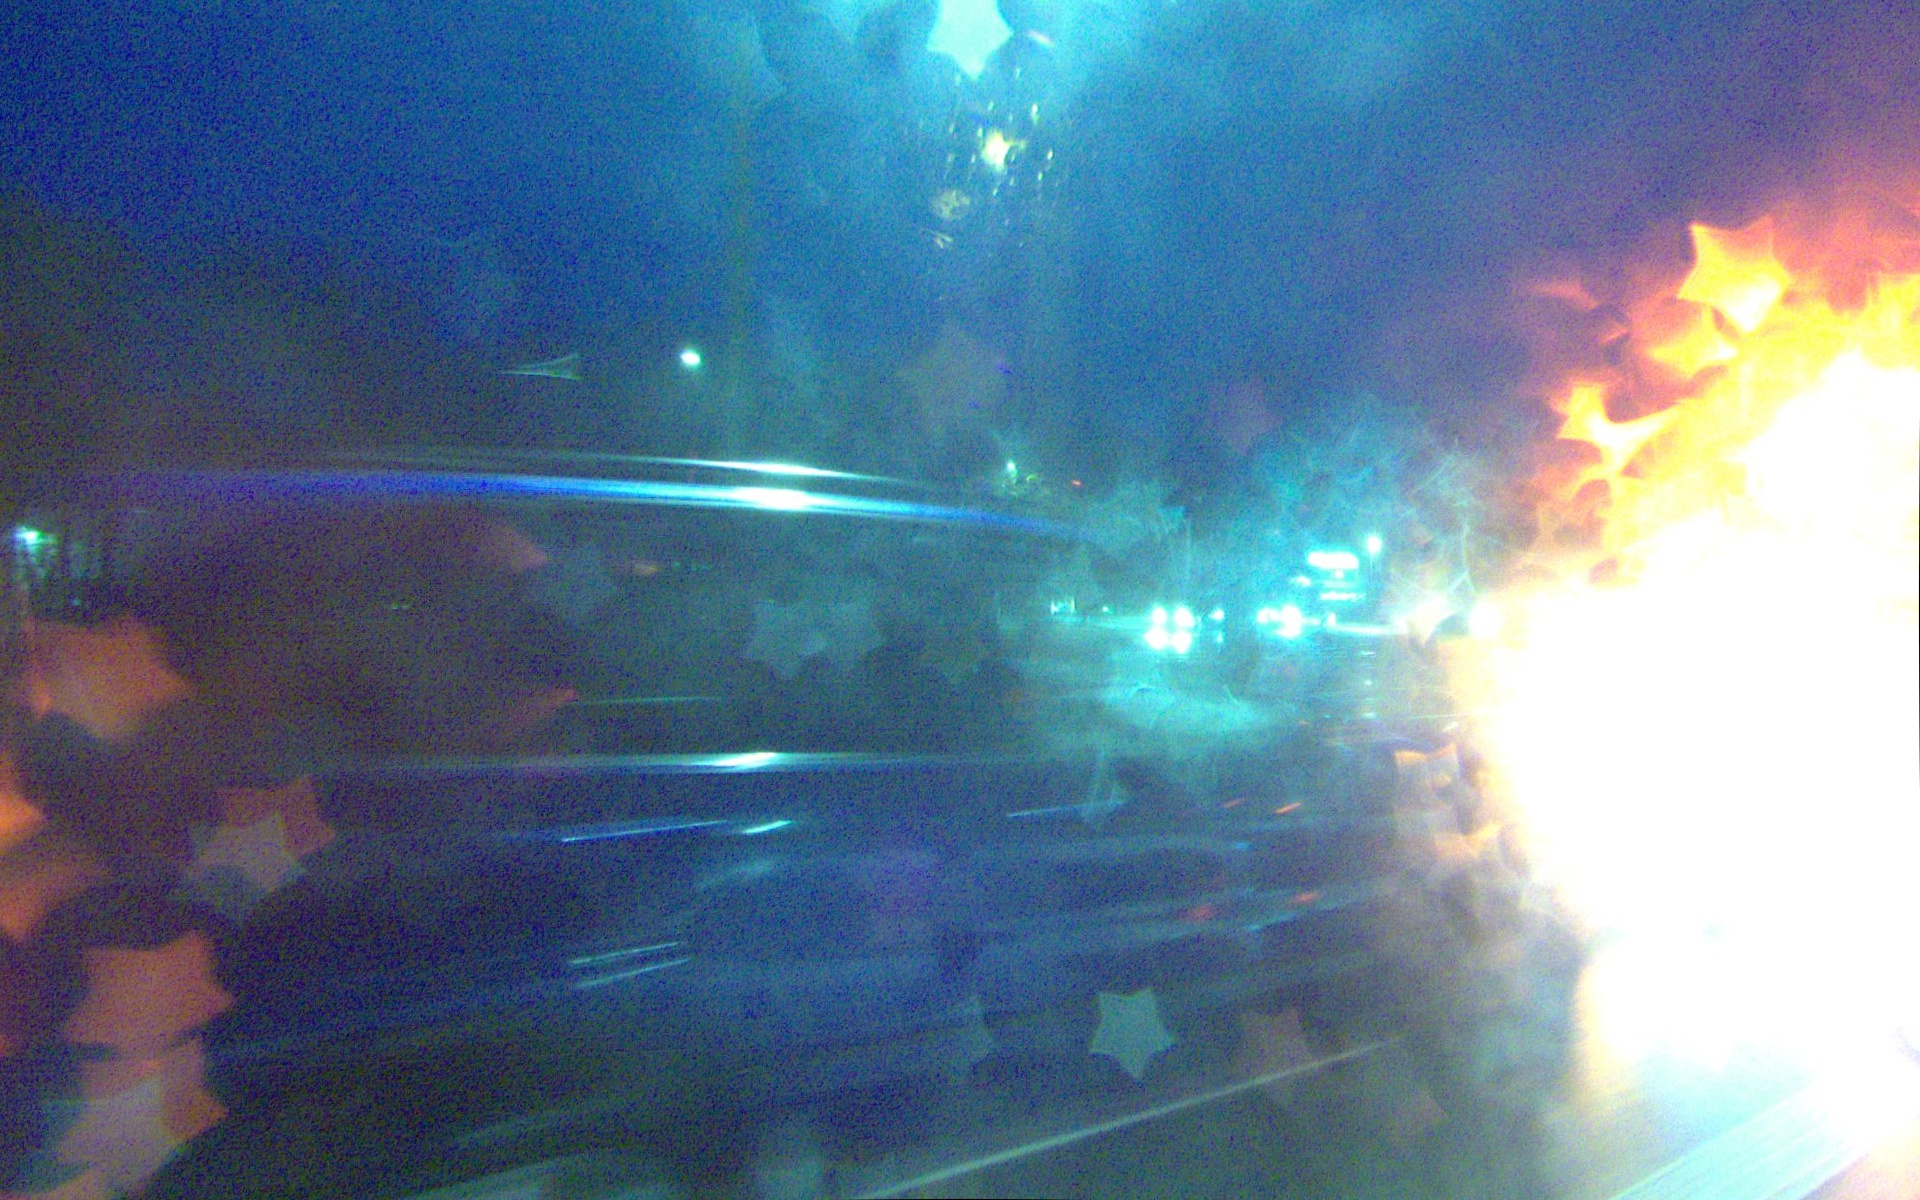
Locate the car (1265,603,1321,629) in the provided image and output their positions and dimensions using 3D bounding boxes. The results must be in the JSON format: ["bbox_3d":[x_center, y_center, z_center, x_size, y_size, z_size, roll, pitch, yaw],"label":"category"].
[{"bbox_3d":[21.396,1.028,64.452,3.971,1.539,1.705,1,1,-43],"label":"car"}]

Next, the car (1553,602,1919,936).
[{"bbox_3d":[5.901,0.824,6.403,4.384,1.531,1.775,1,-1,-31],"label":"car"}]

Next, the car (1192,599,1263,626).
[{"bbox_3d":[16.052,0.750,60.213,3.949,1.539,1.715,1,1,-27],"label":"car"}]

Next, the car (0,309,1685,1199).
[{"bbox_3d":[-0.034,0.583,2.865,4.383,1.806,1.775,1,0,-30],"label":"car"}]

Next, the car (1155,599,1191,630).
[{"bbox_3d":[11.637,0.754,54.752,1.486,1.538,4.375,2,1,17],"label":"car"}]

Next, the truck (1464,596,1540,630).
[{"bbox_3d":[38.860,0.935,71.957,5.950,2.302,1.984,1,1,-30],"label":"truck"}]
